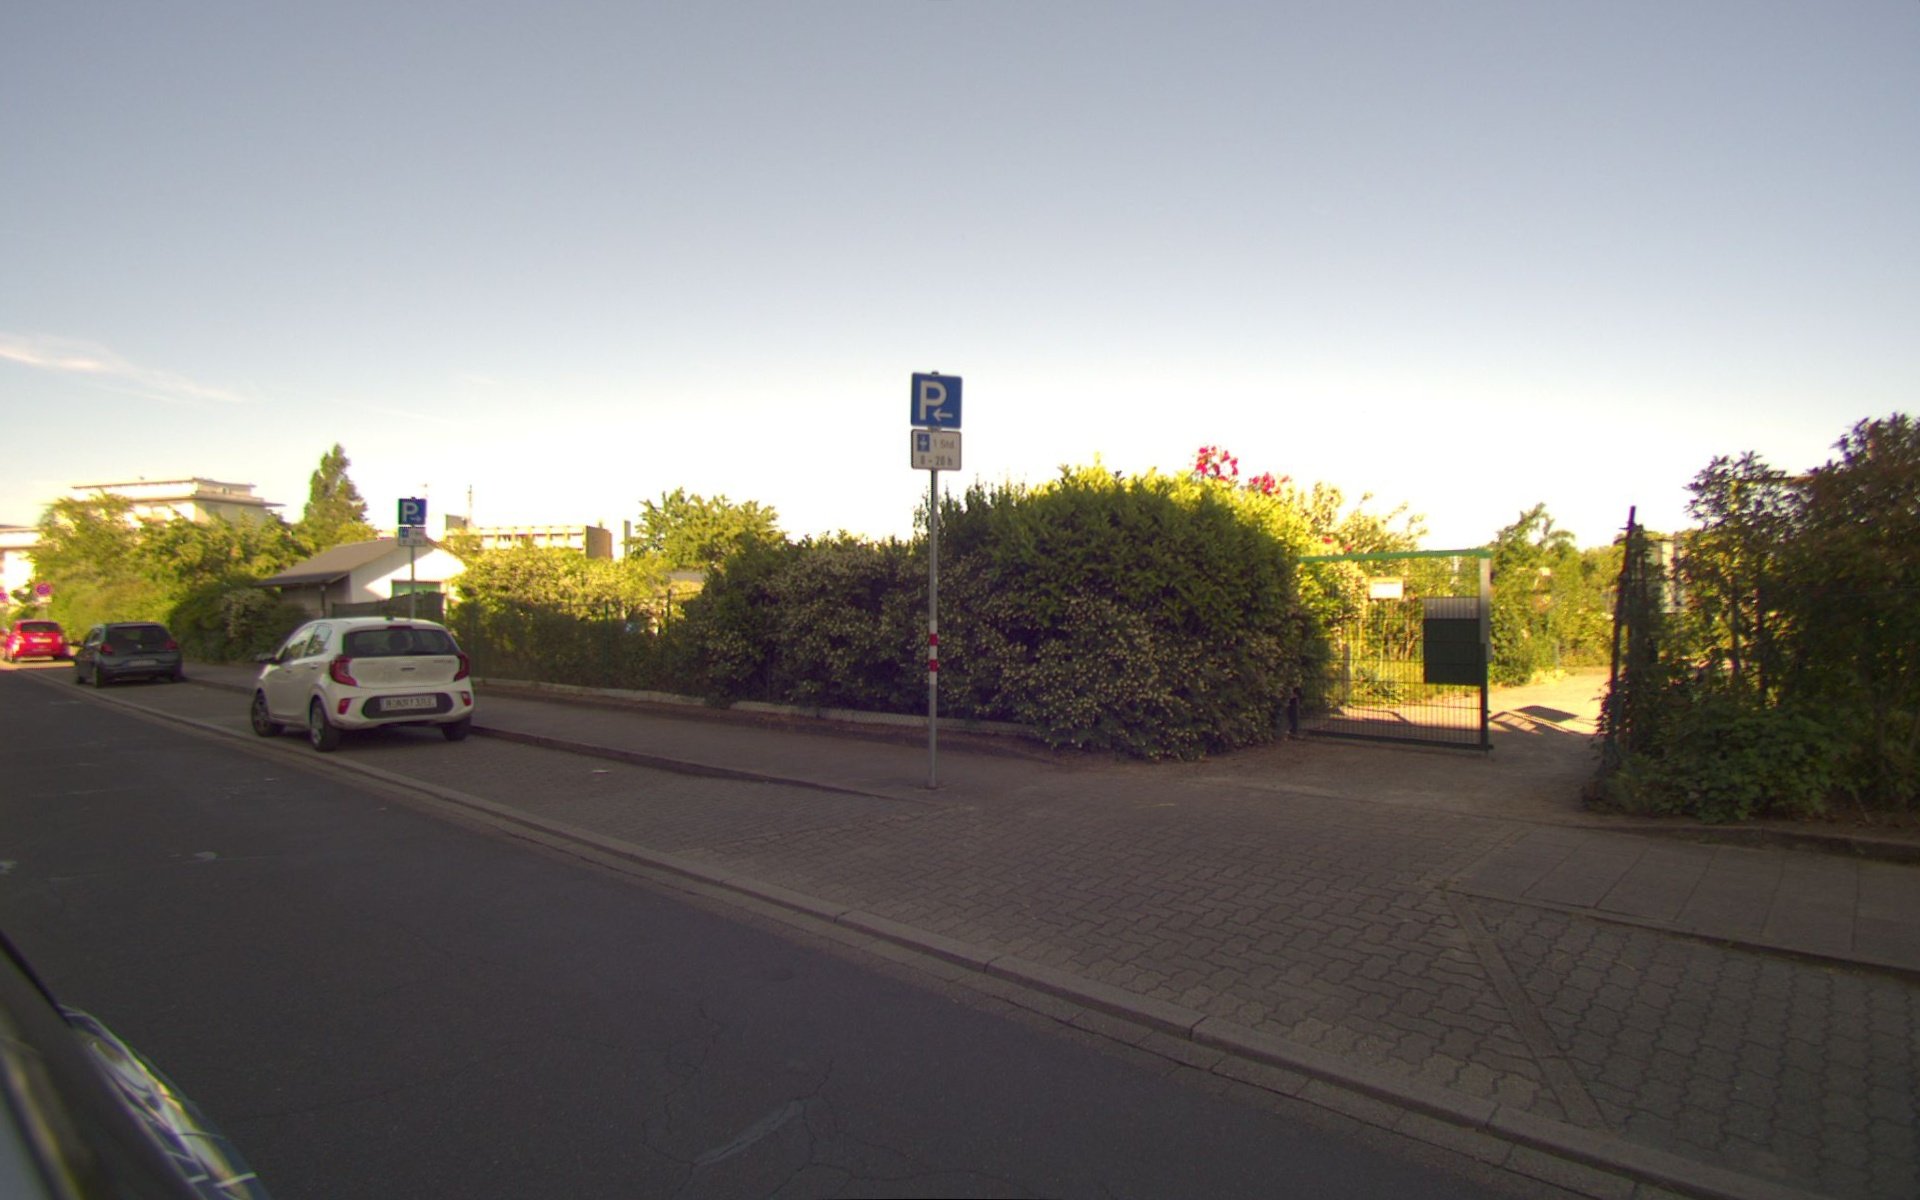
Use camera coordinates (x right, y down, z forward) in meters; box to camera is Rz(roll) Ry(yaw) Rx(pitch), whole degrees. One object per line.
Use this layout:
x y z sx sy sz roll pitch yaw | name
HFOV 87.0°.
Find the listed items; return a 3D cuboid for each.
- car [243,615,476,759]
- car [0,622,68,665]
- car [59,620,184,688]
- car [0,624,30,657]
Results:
-7.394 0.957 12.347 3.401 1.499 1.511 -1 -1 42 | car
-33.698 1.541 36.595 4.385 1.440 1.677 -1 -2 42 | car
-20.308 1.252 24.451 4.516 1.434 1.678 -1 0 42 | car
-40.977 1.701 43.071 3.909 1.380 1.677 -1 -2 42 | car
